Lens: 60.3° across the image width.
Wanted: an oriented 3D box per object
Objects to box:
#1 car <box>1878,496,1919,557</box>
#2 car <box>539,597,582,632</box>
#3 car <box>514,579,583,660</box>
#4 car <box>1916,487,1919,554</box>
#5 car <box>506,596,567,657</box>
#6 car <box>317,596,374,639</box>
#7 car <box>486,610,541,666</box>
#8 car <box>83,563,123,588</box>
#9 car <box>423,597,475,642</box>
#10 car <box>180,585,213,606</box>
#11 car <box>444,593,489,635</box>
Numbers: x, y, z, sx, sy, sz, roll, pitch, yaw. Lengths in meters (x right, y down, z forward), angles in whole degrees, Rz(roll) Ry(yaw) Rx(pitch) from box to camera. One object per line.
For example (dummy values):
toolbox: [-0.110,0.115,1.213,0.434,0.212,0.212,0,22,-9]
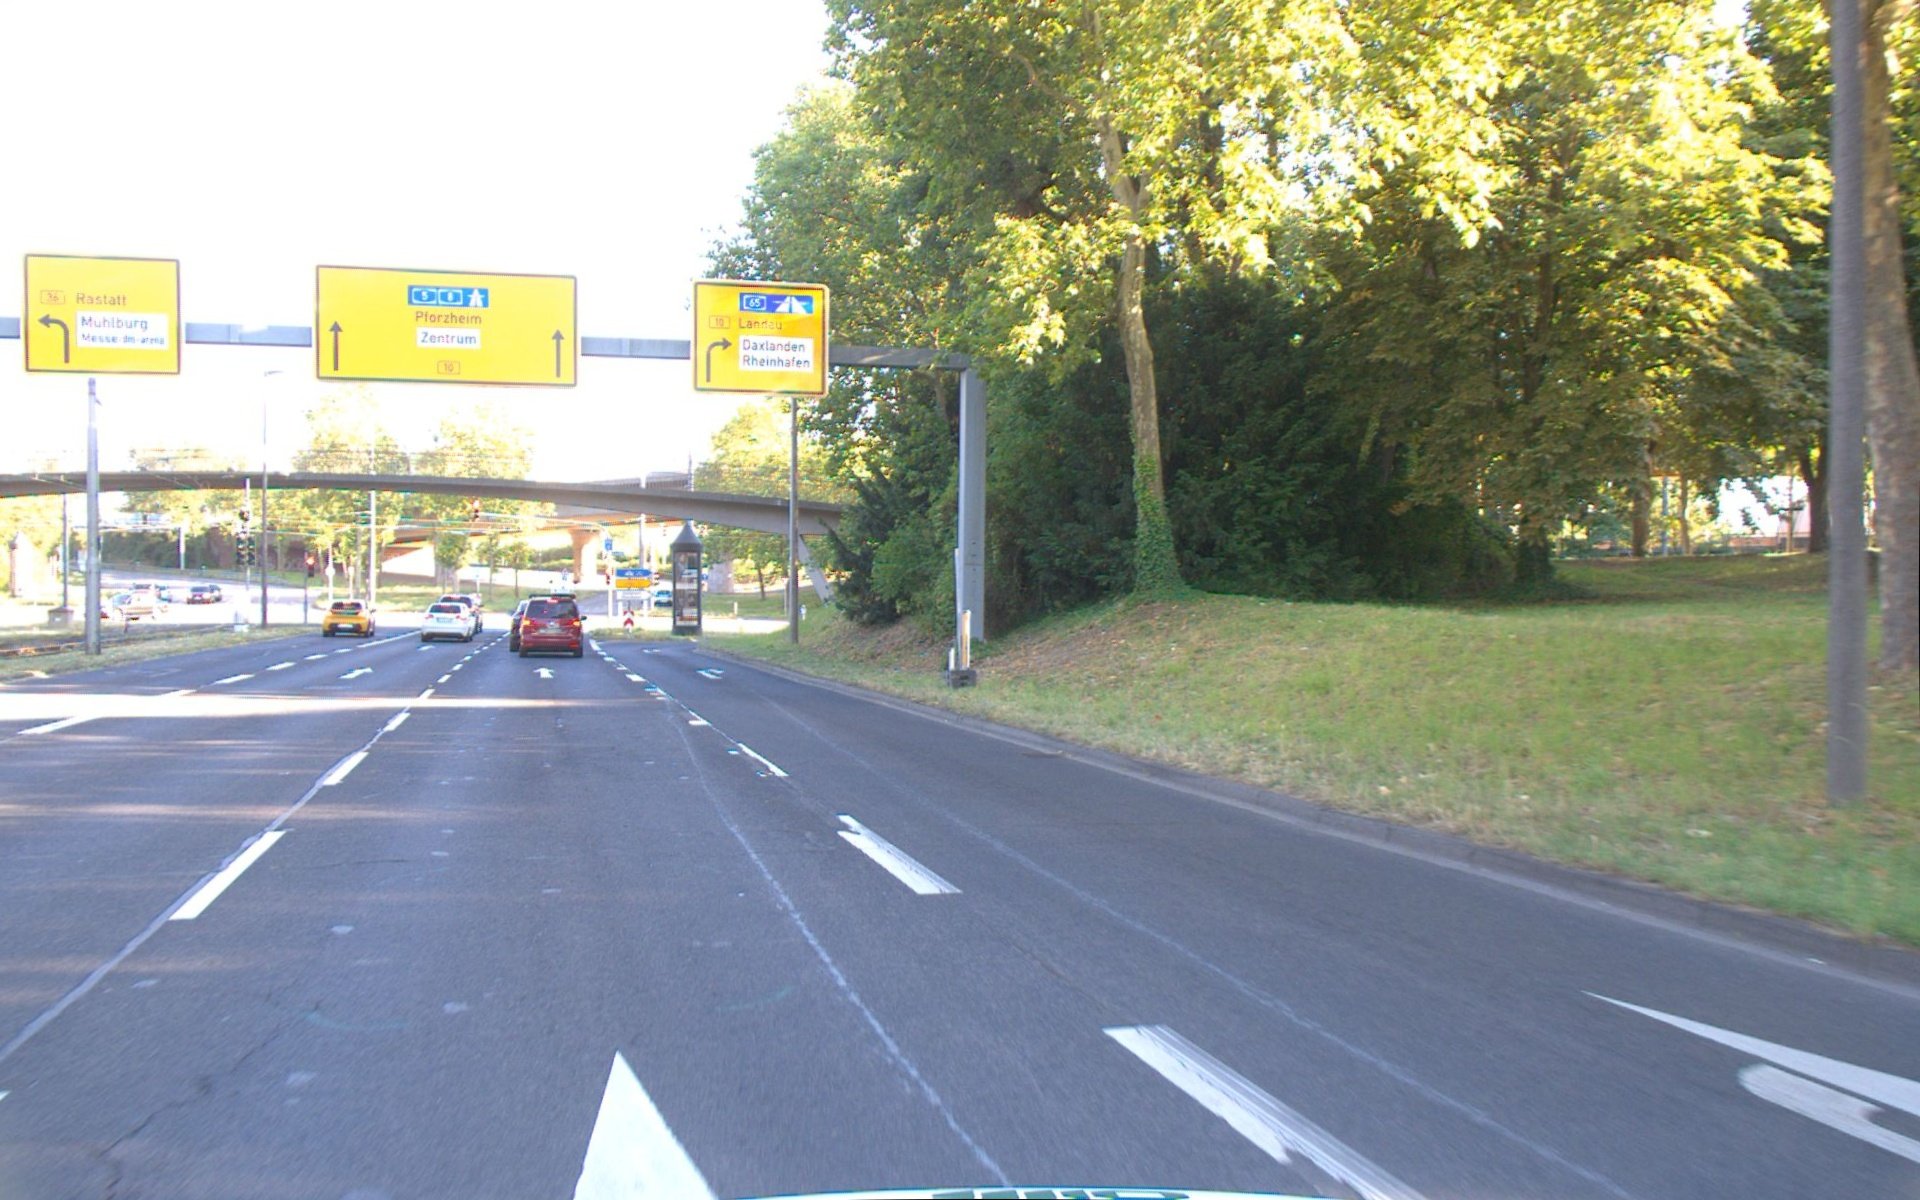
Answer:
car: [27.493,-2.037,45.087,3.905,1.579,1.808,-1,0,0]
car: [-17.485,0.618,72.357,1.762,1.407,4.460,-2,1,-14]
car: [-11.608,0.497,46.612,1.762,2.142,3.985,-2,1,-15]
car: [24.741,-1.920,38.626,3.914,1.579,1.804,-2,0,-9]
car: [-13.445,0.792,52.625,1.762,1.780,4.225,-2,1,-14]
car: [-24.135,0.658,65.099,1.635,1.592,3.985,-2,1,-14]
car: [-15.614,1.283,57.961,1.762,1.780,3.985,-2,1,-14]
car: [-65.219,-1.871,125.935,1.848,1.803,3.983,1,0,-16]
car: [-19.479,0.726,63.130,1.635,1.592,4.175,-2,1,-14]
car: [-61.528,-0.350,133.355,1.848,1.603,3.659,1,0,-16]
car: [-22.741,0.618,76.138,1.765,1.823,4.800,-2,1,-19]
